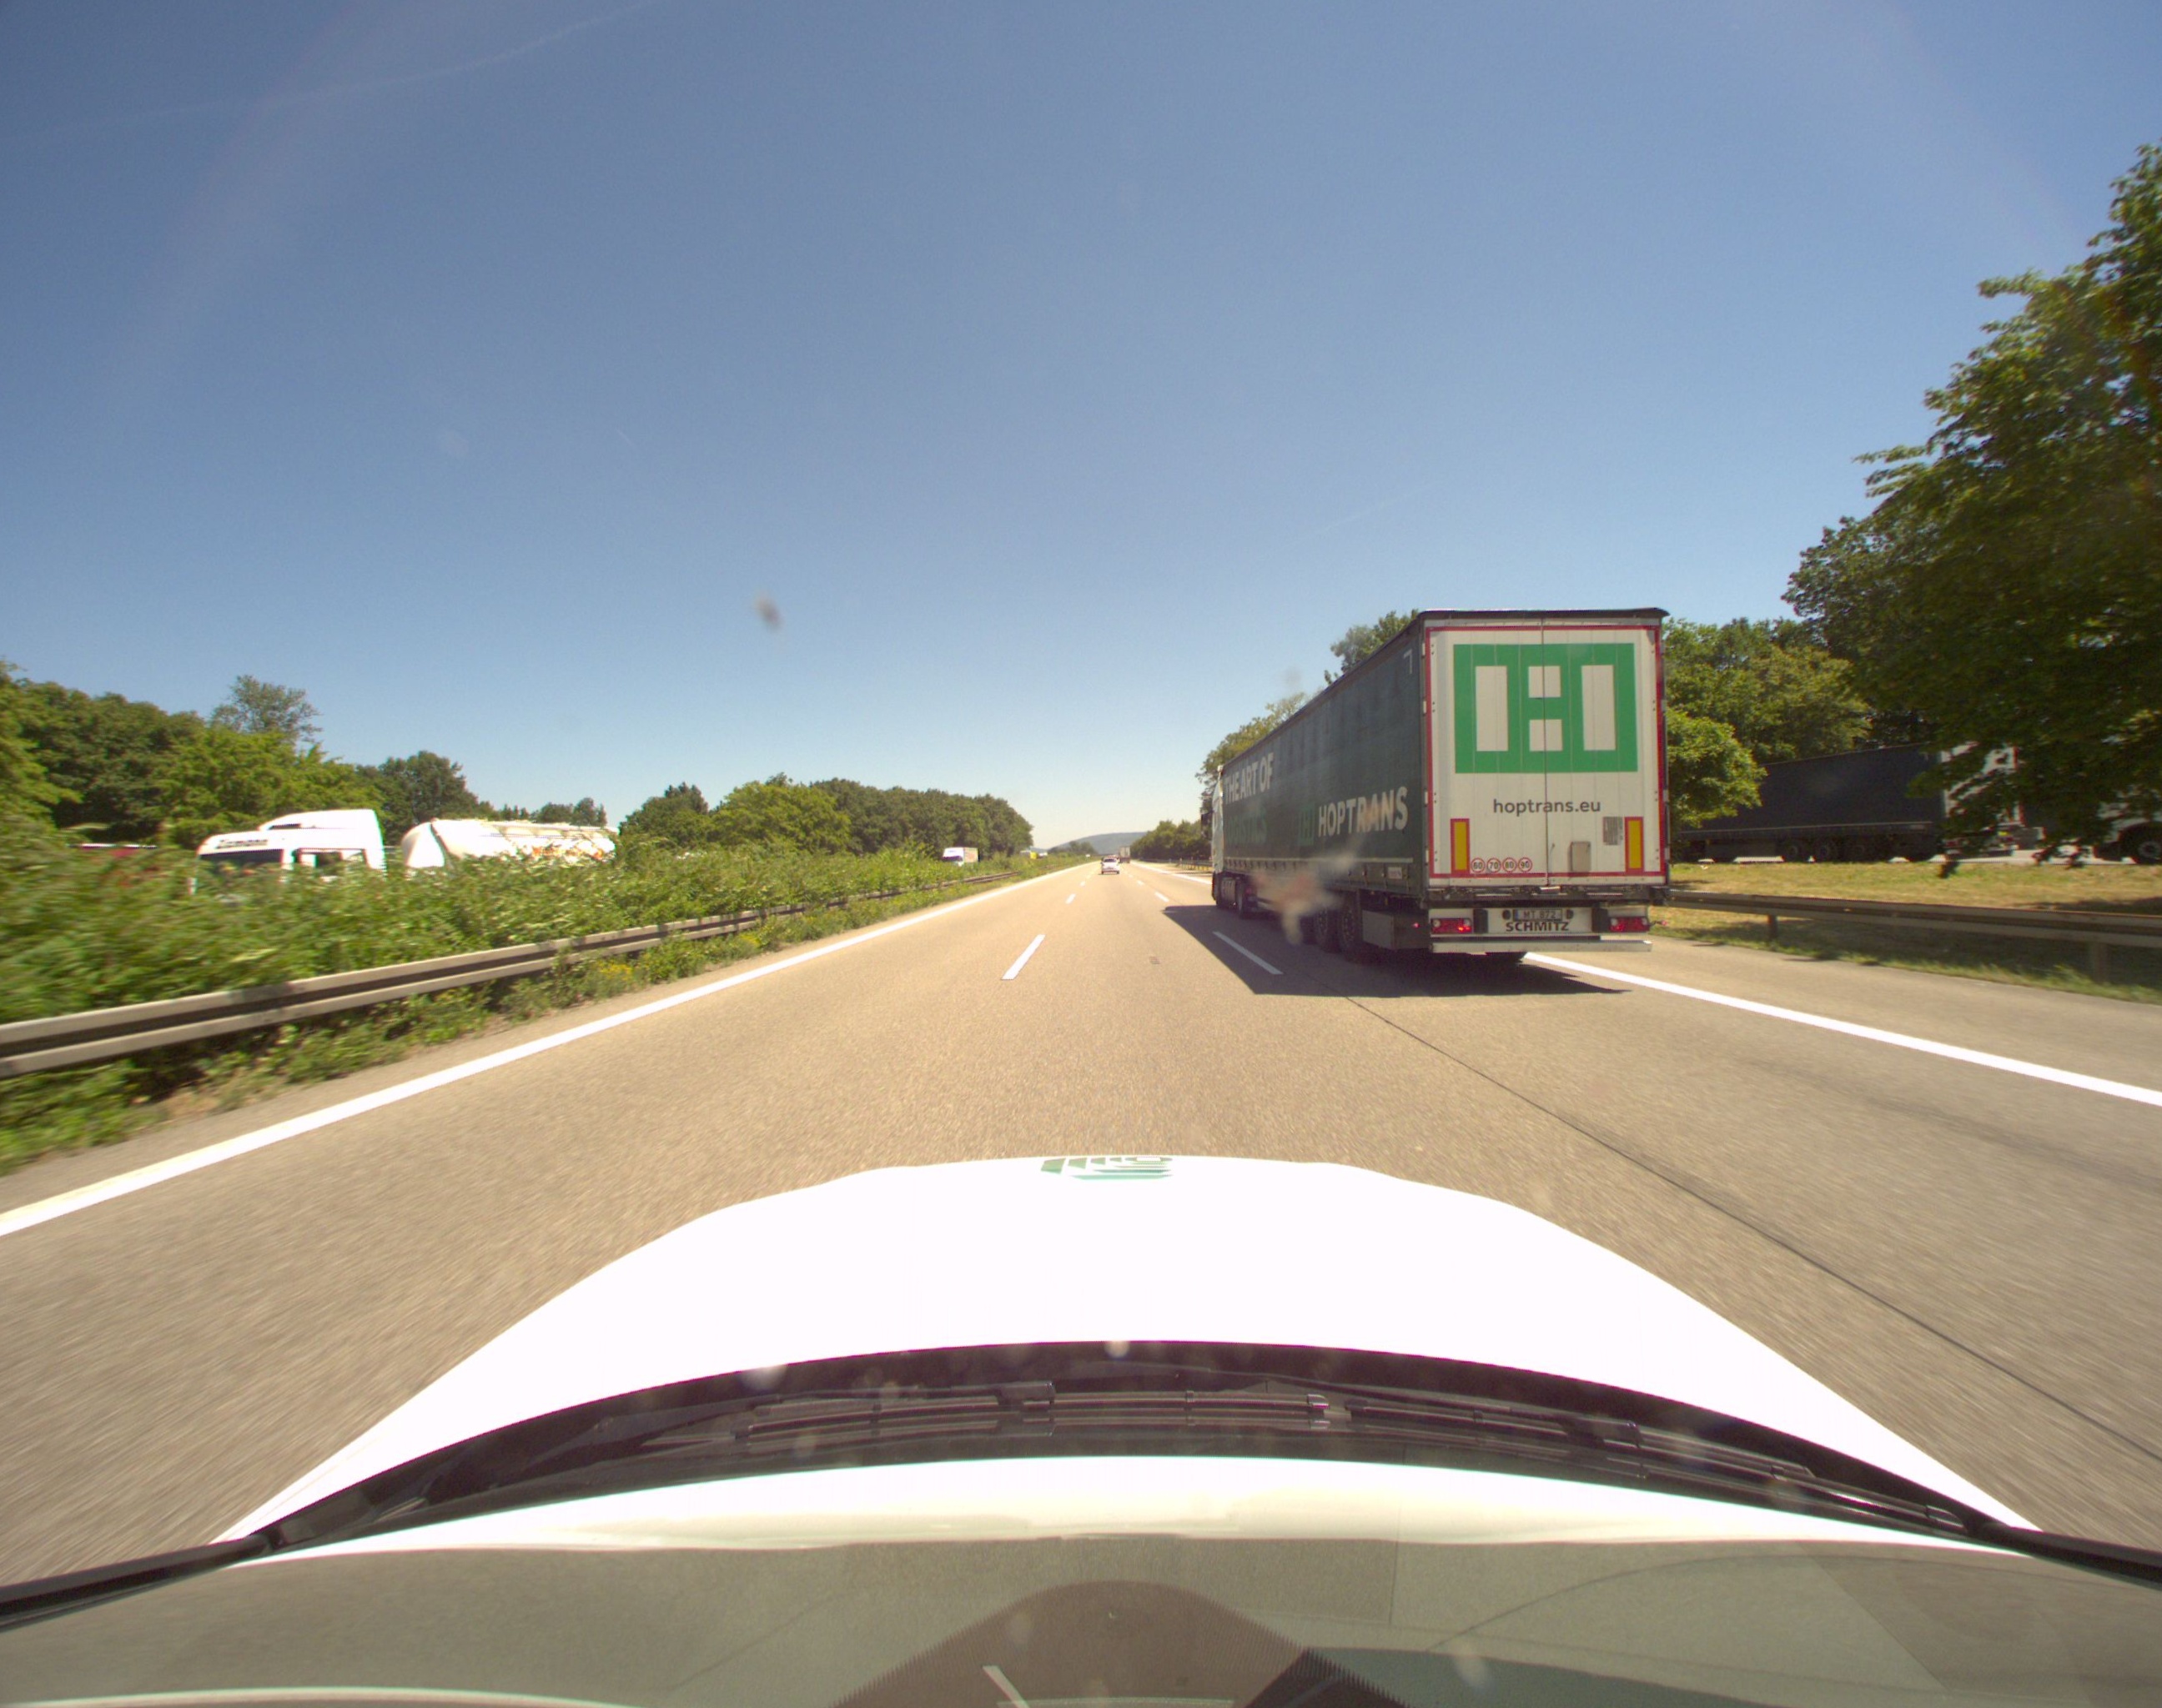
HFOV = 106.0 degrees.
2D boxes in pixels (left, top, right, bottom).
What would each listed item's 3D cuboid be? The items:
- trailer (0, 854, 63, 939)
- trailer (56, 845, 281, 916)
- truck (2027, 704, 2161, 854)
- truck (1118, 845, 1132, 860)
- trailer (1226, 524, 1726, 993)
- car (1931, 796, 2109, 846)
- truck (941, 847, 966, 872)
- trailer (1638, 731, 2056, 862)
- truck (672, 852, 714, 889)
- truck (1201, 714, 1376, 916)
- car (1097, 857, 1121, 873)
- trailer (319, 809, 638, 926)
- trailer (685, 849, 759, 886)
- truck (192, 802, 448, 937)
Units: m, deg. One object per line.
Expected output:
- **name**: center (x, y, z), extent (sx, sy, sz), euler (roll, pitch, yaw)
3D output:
- **trailer**: center (-47.145, 1.859, 31.984), extent (2.448, 3.615, 9.605), euler (-2, 0, -2)
- **trailer**: center (-46.965, 1.258, 42.443), extent (2.081, 3.309, 8.520), euler (-1, 0, 0)
- **truck**: center (28.850, -1.922, 20.822), extent (3.082, 3.790, 5.310), euler (-1, 0, -3)
- **truck**: center (11.012, -0.320, 204.868), extent (3.312, 3.756, 12.801), euler (-1, 0, 2)
- **trailer**: center (5.046, -0.950, 14.251), extent (3.169, 4.627, 12.056), euler (-2, 0, 2)
- **car**: center (37.125, -1.249, 32.416), extent (1.986, 1.719, 4.479), euler (-3, 0, 2)
- **truck**: center (-17.035, 0.696, 108.896), extent (2.564, 3.144, 4.265), euler (-2, 0, 1)
- **trailer**: center (28.733, -1.759, 32.490), extent (3.126, 3.952, 14.192), euler (-3, 0, 0)
- **truck**: center (-41.942, 1.766, 88.162), extent (2.242, 3.870, 3.810), euler (-3, 0, 8)
- **truck**: center (5.315, -0.915, 22.132), extent (3.171, 4.607, 5.949), euler (-3, 0, 1)
- **car**: center (2.612, 1.059, 76.540), extent (1.809, 1.405, 3.311), euler (-2, 0, -5)
- **trailer**: center (-19.014, 0.378, 27.104), extent (2.362, 3.090, 10.653), euler (-1, 0, 2)
- **trailer**: center (-41.174, 1.465, 93.919), extent (2.277, 3.870, 10.730), euler (-3, 0, 8)
- **truck**: center (-19.250, 0.359, 20.958), extent (2.338, 3.079, 4.399), euler (-1, 0, 2)
